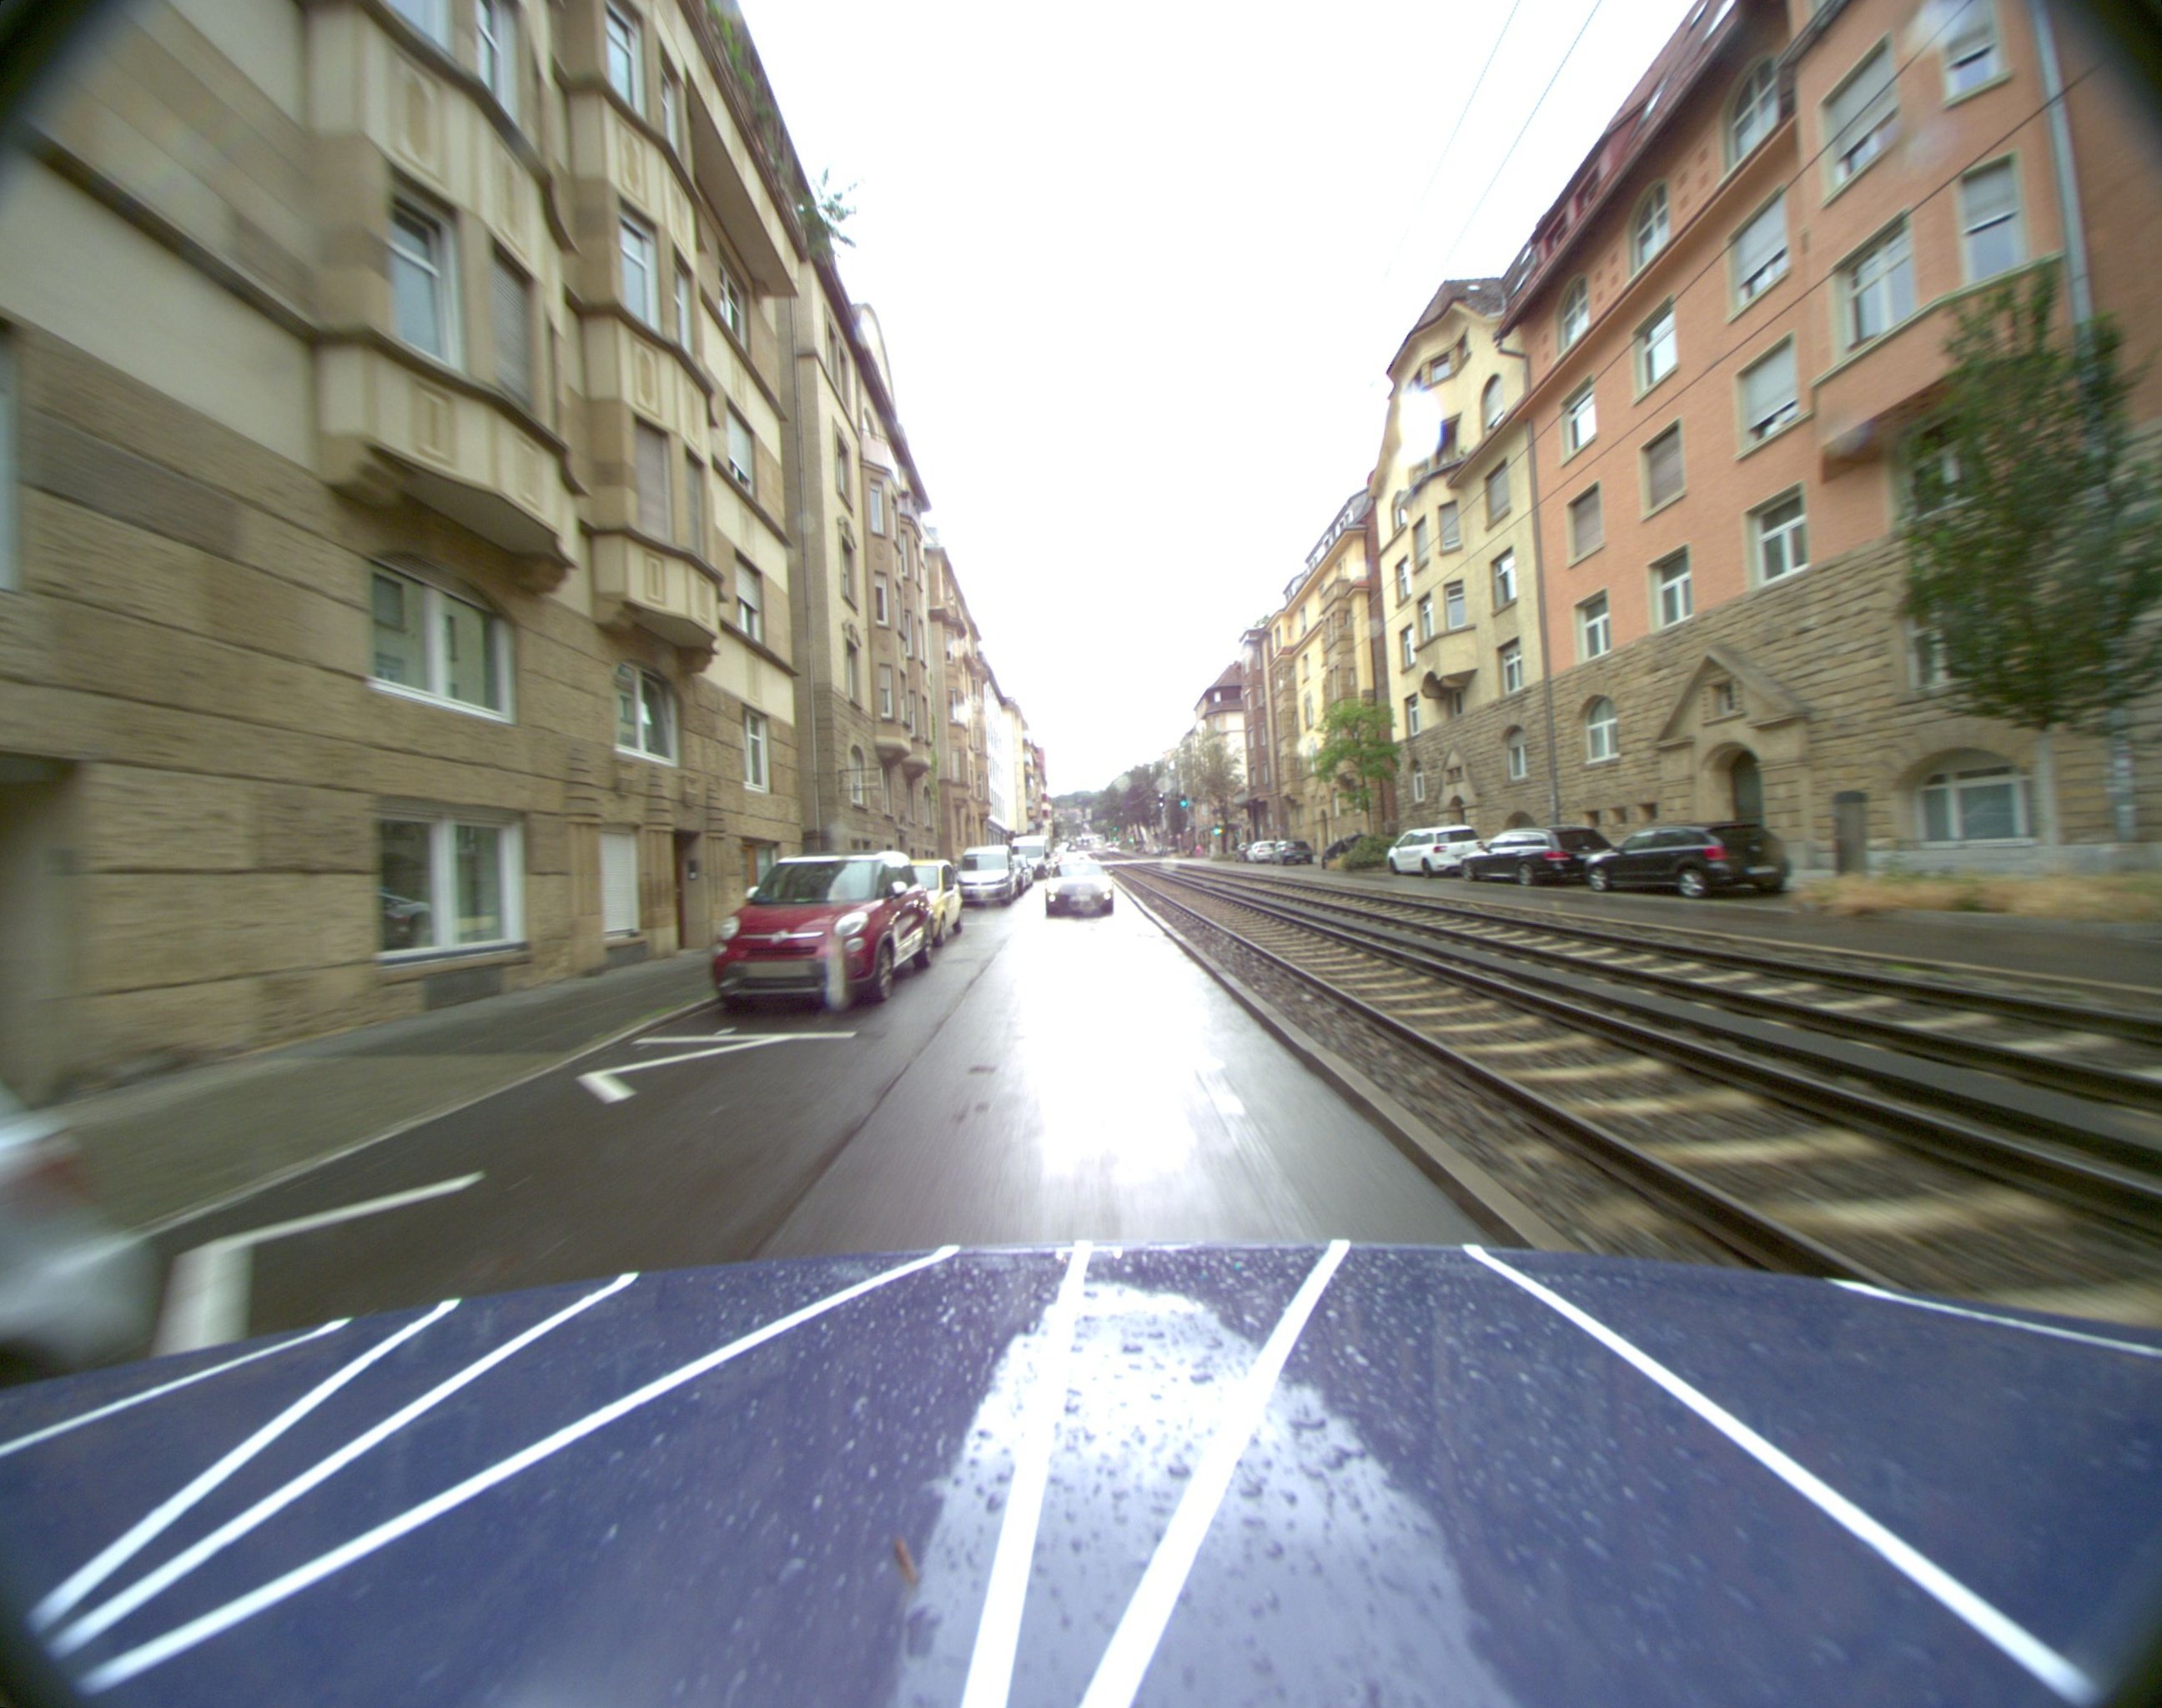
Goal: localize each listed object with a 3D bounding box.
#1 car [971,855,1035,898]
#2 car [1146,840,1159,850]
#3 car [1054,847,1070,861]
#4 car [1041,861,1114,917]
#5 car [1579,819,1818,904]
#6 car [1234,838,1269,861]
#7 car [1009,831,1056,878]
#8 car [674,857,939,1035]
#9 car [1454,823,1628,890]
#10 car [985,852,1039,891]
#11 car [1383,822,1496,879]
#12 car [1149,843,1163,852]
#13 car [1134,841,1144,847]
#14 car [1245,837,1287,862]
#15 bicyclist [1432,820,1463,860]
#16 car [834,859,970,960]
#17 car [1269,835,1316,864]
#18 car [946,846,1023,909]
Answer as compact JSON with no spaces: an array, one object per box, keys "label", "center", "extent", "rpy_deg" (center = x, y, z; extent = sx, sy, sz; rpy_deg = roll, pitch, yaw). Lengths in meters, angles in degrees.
[{"label":"car","center":[-2.937,0.804,29.254],"extent":[1.931,1.380,3.981],"rpy_deg":[-3,1,1]},{"label":"car","center":[12.395,-1.541,132.290],"extent":[1.794,1.610,4.257],"rpy_deg":[-2,1,0]},{"label":"car","center":[-2.272,-0.029,92.820],"extent":[1.794,1.459,4.257],"rpy_deg":[-2,1,1]},{"label":"car","center":[-0.055,0.865,20.554],"extent":[1.737,1.262,4.257],"rpy_deg":[-1,0,1]},{"label":"car","center":[12.458,0.105,15.665],"extent":[1.760,1.396,3.693],"rpy_deg":[-5,1,-2]},{"label":"car","center":[12.477,-0.367,55.787],"extent":[1.759,1.419,3.712],"rpy_deg":[-6,1,2]},{"label":"car","center":[-2.778,-0.002,45.087],"extent":[1.991,2.520,6.154],"rpy_deg":[-3,1,3]},{"label":"car","center":[-2.982,0.886,9.234],"extent":[1.774,1.592,3.999],"rpy_deg":[-2,1,-1]},{"label":"car","center":[12.203,0.024,20.569],"extent":[1.760,1.482,4.596],"rpy_deg":[-5,1,-1]},{"label":"car","center":[-3.022,0.719,33.980],"extent":[1.935,1.516,4.058],"rpy_deg":[-3,1,1]},{"label":"car","center":[12.210,-0.154,26.231],"extent":[1.759,1.663,4.259],"rpy_deg":[-6,1,0]},{"label":"car","center":[11.889,-1.119,121.062],"extent":[1.794,1.339,4.257],"rpy_deg":[-2,1,0]},{"label":"car","center":[12.400,-2.162,162.722],"extent":[1.794,1.339,4.257],"rpy_deg":[-2,1,0]},{"label":"car","center":[12.351,-0.355,50.949],"extent":[1.759,1.443,4.043],"rpy_deg":[-6,1,2]},{"label":"bicyclist","center":[14.990,-0.578,31.091],"extent":[0.894,1.592,0.774],"rpy_deg":[-2,2,0]},{"label":"car","center":[-3.170,0.918,14.144],"extent":[1.632,1.502,3.530],"rpy_deg":[-4,1,-1]},{"label":"car","center":[12.425,-0.313,44.888],"extent":[1.717,1.474,3.712],"rpy_deg":[-6,1,2]},{"label":"car","center":[-2.957,0.657,24.111],"extent":[1.811,1.759,3.962],"rpy_deg":[-3,1,1]}]
